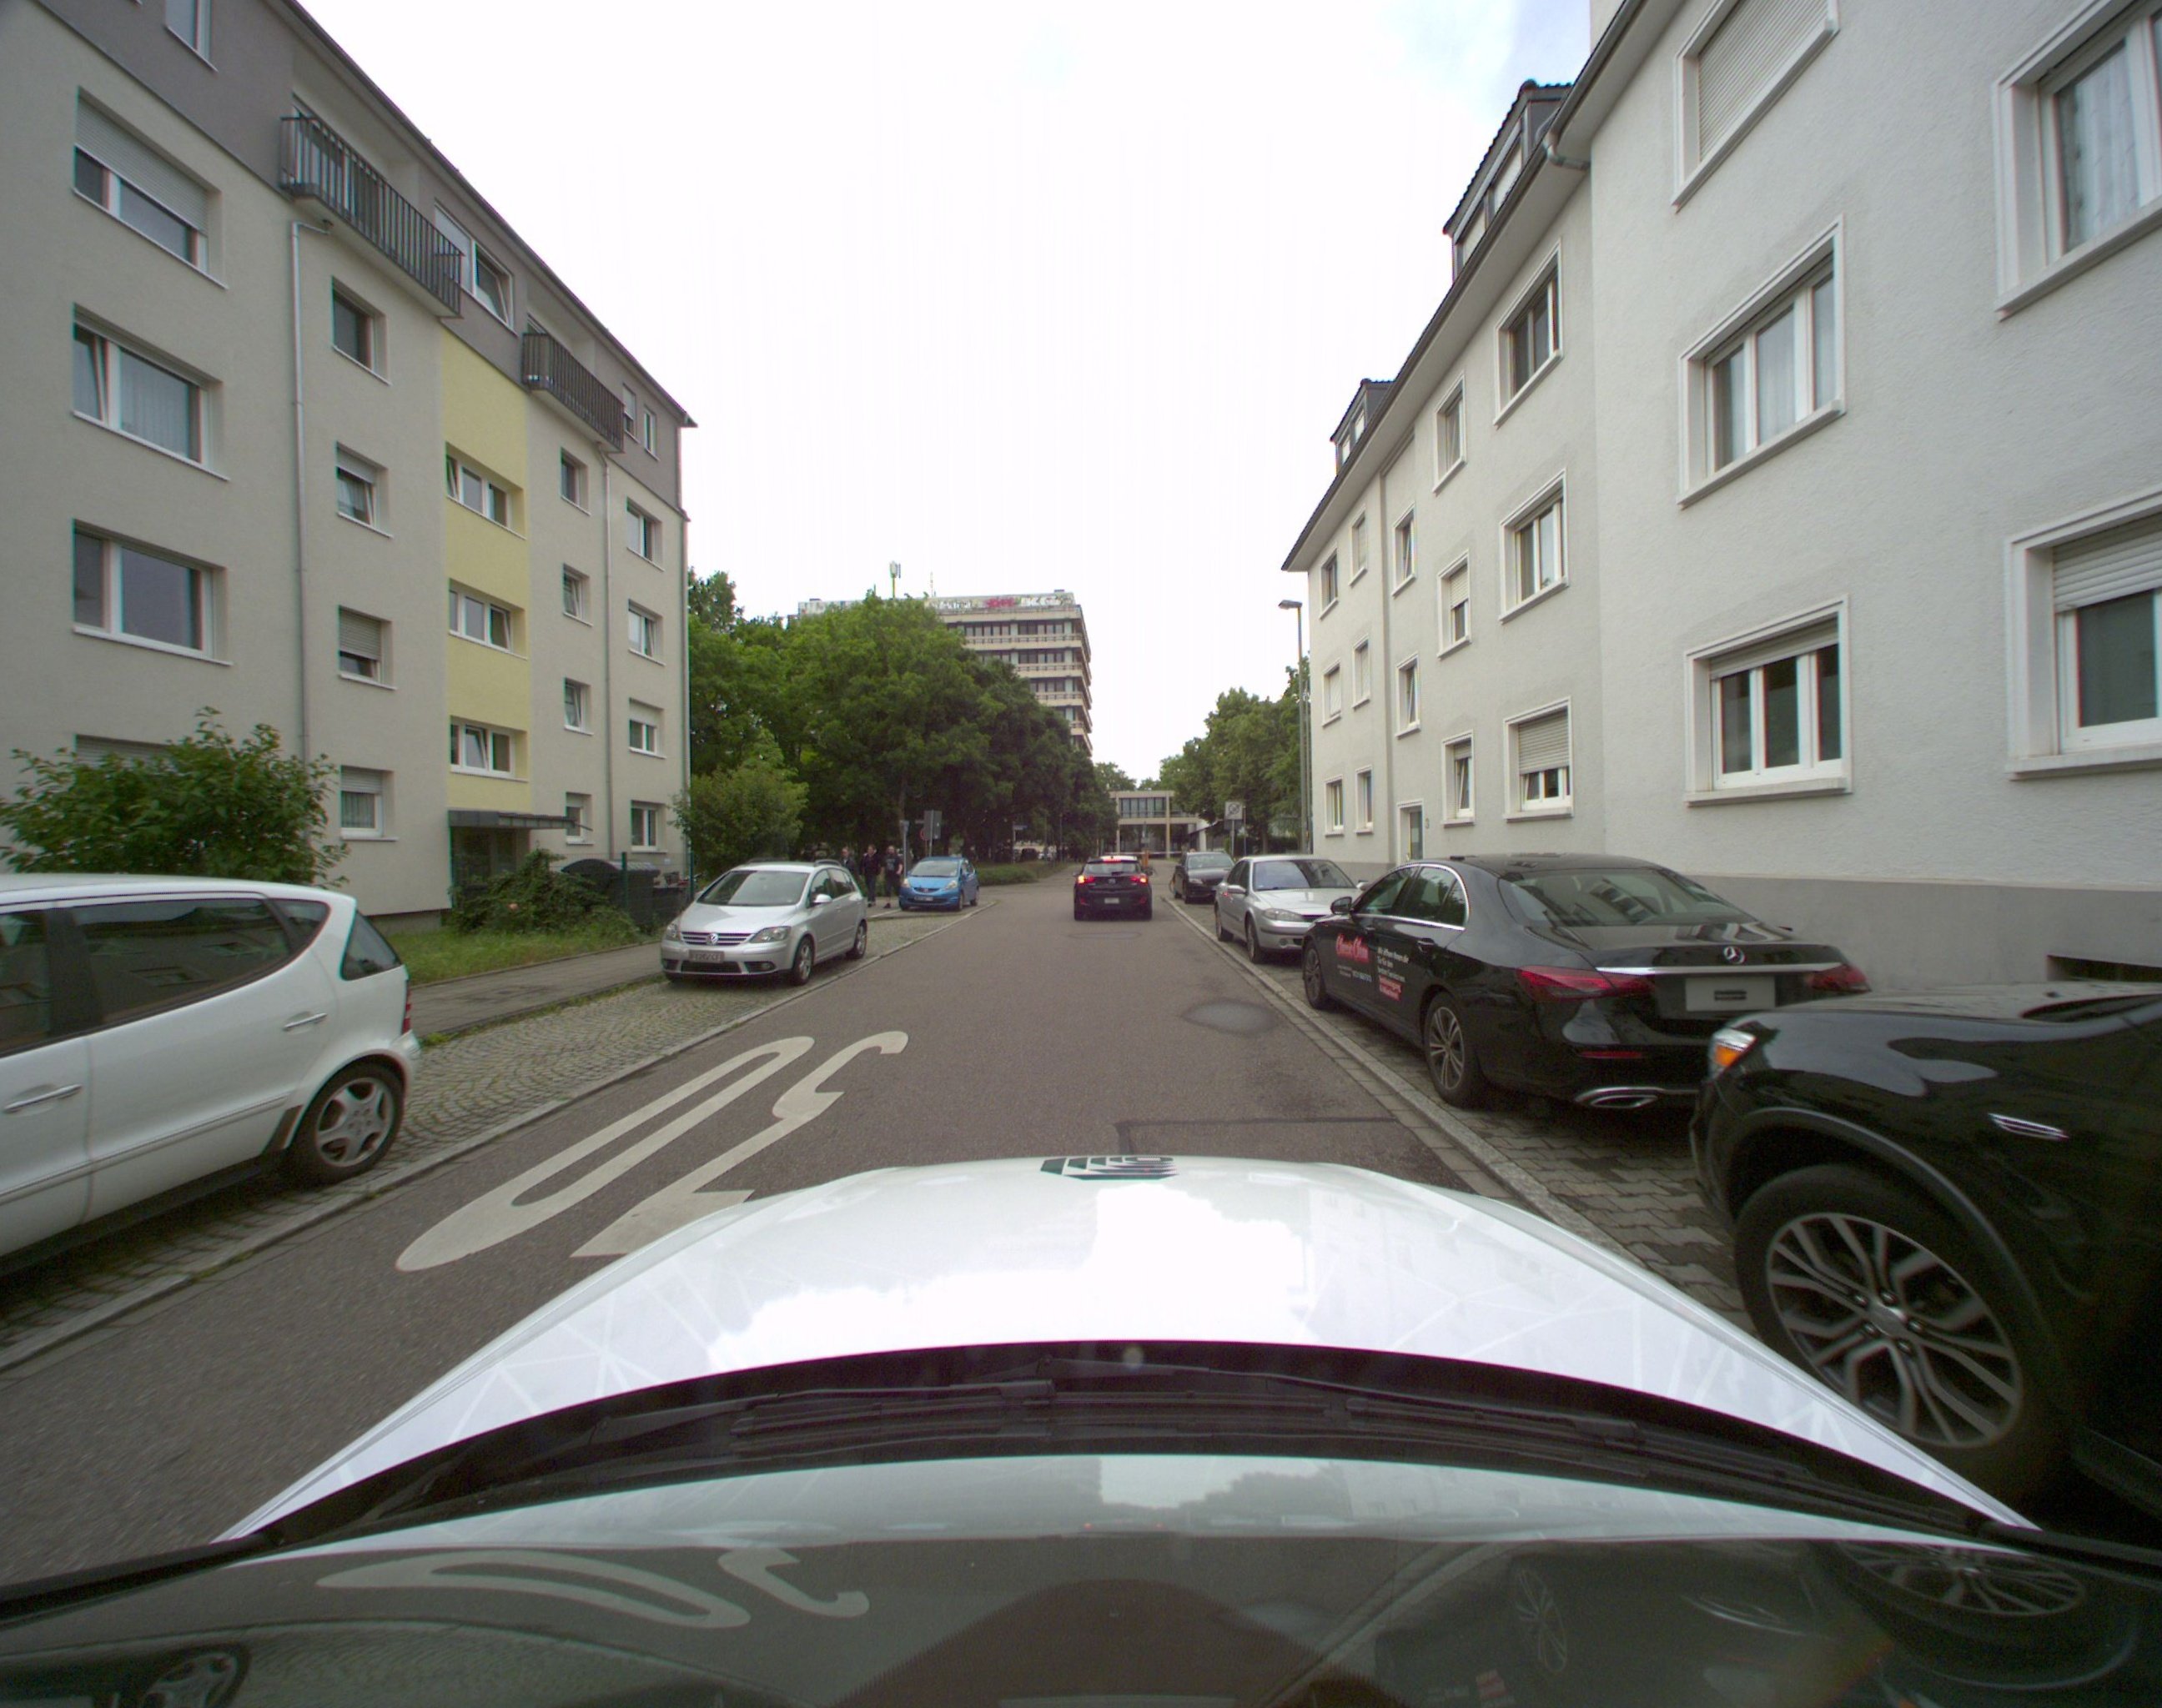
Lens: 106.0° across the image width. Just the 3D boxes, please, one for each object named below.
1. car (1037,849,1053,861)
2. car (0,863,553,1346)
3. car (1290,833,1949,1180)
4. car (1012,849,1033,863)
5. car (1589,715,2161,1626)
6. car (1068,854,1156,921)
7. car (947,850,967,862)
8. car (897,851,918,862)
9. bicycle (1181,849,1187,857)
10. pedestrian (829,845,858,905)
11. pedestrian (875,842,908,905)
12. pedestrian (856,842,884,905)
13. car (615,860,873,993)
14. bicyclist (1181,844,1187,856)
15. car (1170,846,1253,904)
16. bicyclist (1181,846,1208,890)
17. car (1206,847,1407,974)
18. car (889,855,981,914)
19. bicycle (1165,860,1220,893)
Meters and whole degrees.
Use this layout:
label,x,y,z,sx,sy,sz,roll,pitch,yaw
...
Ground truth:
label,x,y,z,sx,sy,sz,roll,pitch,yaw
car,-4.217,0.066,95.631,1.659,1.333,3.397,-1,0,2
car,-4.690,0.889,3.467,1.889,1.599,4.520,1,0,0
car,3.002,0.674,5.974,1.814,1.519,4.674,-1,0,1
car,-5.882,0.171,82.222,1.659,1.333,3.397,-1,0,2
car,2.810,0.545,0.948,1.815,1.603,4.088,-1,0,-1
car,0.763,0.726,19.865,1.896,1.433,4.235,-1,0,2
car,-14.624,0.249,95.984,1.659,1.333,3.397,-1,0,2
car,-20.515,0.297,96.456,1.659,1.333,3.397,-1,0,2
bicycle,13.067,-0.092,103.400,0.690,0.997,1.736,-1,0,3
pedestrian,-6.824,0.601,23.436,0.598,1.713,0.649,-1,0,3
pedestrian,-5.559,0.566,23.921,0.711,1.831,0.798,-1,0,3
pedestrian,-6.235,0.568,24.055,0.602,1.831,0.676,-1,0,3
car,-4.497,0.867,11.644,1.987,1.541,4.000,0,0,0
bicyclist,13.063,-0.489,103.404,0.691,1.444,0.795,-1,0,2
car,3.724,0.539,24.027,1.814,1.519,4.675,0,0,1
bicyclist,4.106,0.504,29.393,0.895,1.552,0.694,-1,0,2
car,3.110,0.685,12.275,1.814,1.519,4.675,-1,0,1
car,-4.161,0.819,23.861,1.987,1.541,3.999,0,0,-1
bicycle,4.014,0.813,29.400,1.920,1.163,0.693,-1,0,2
